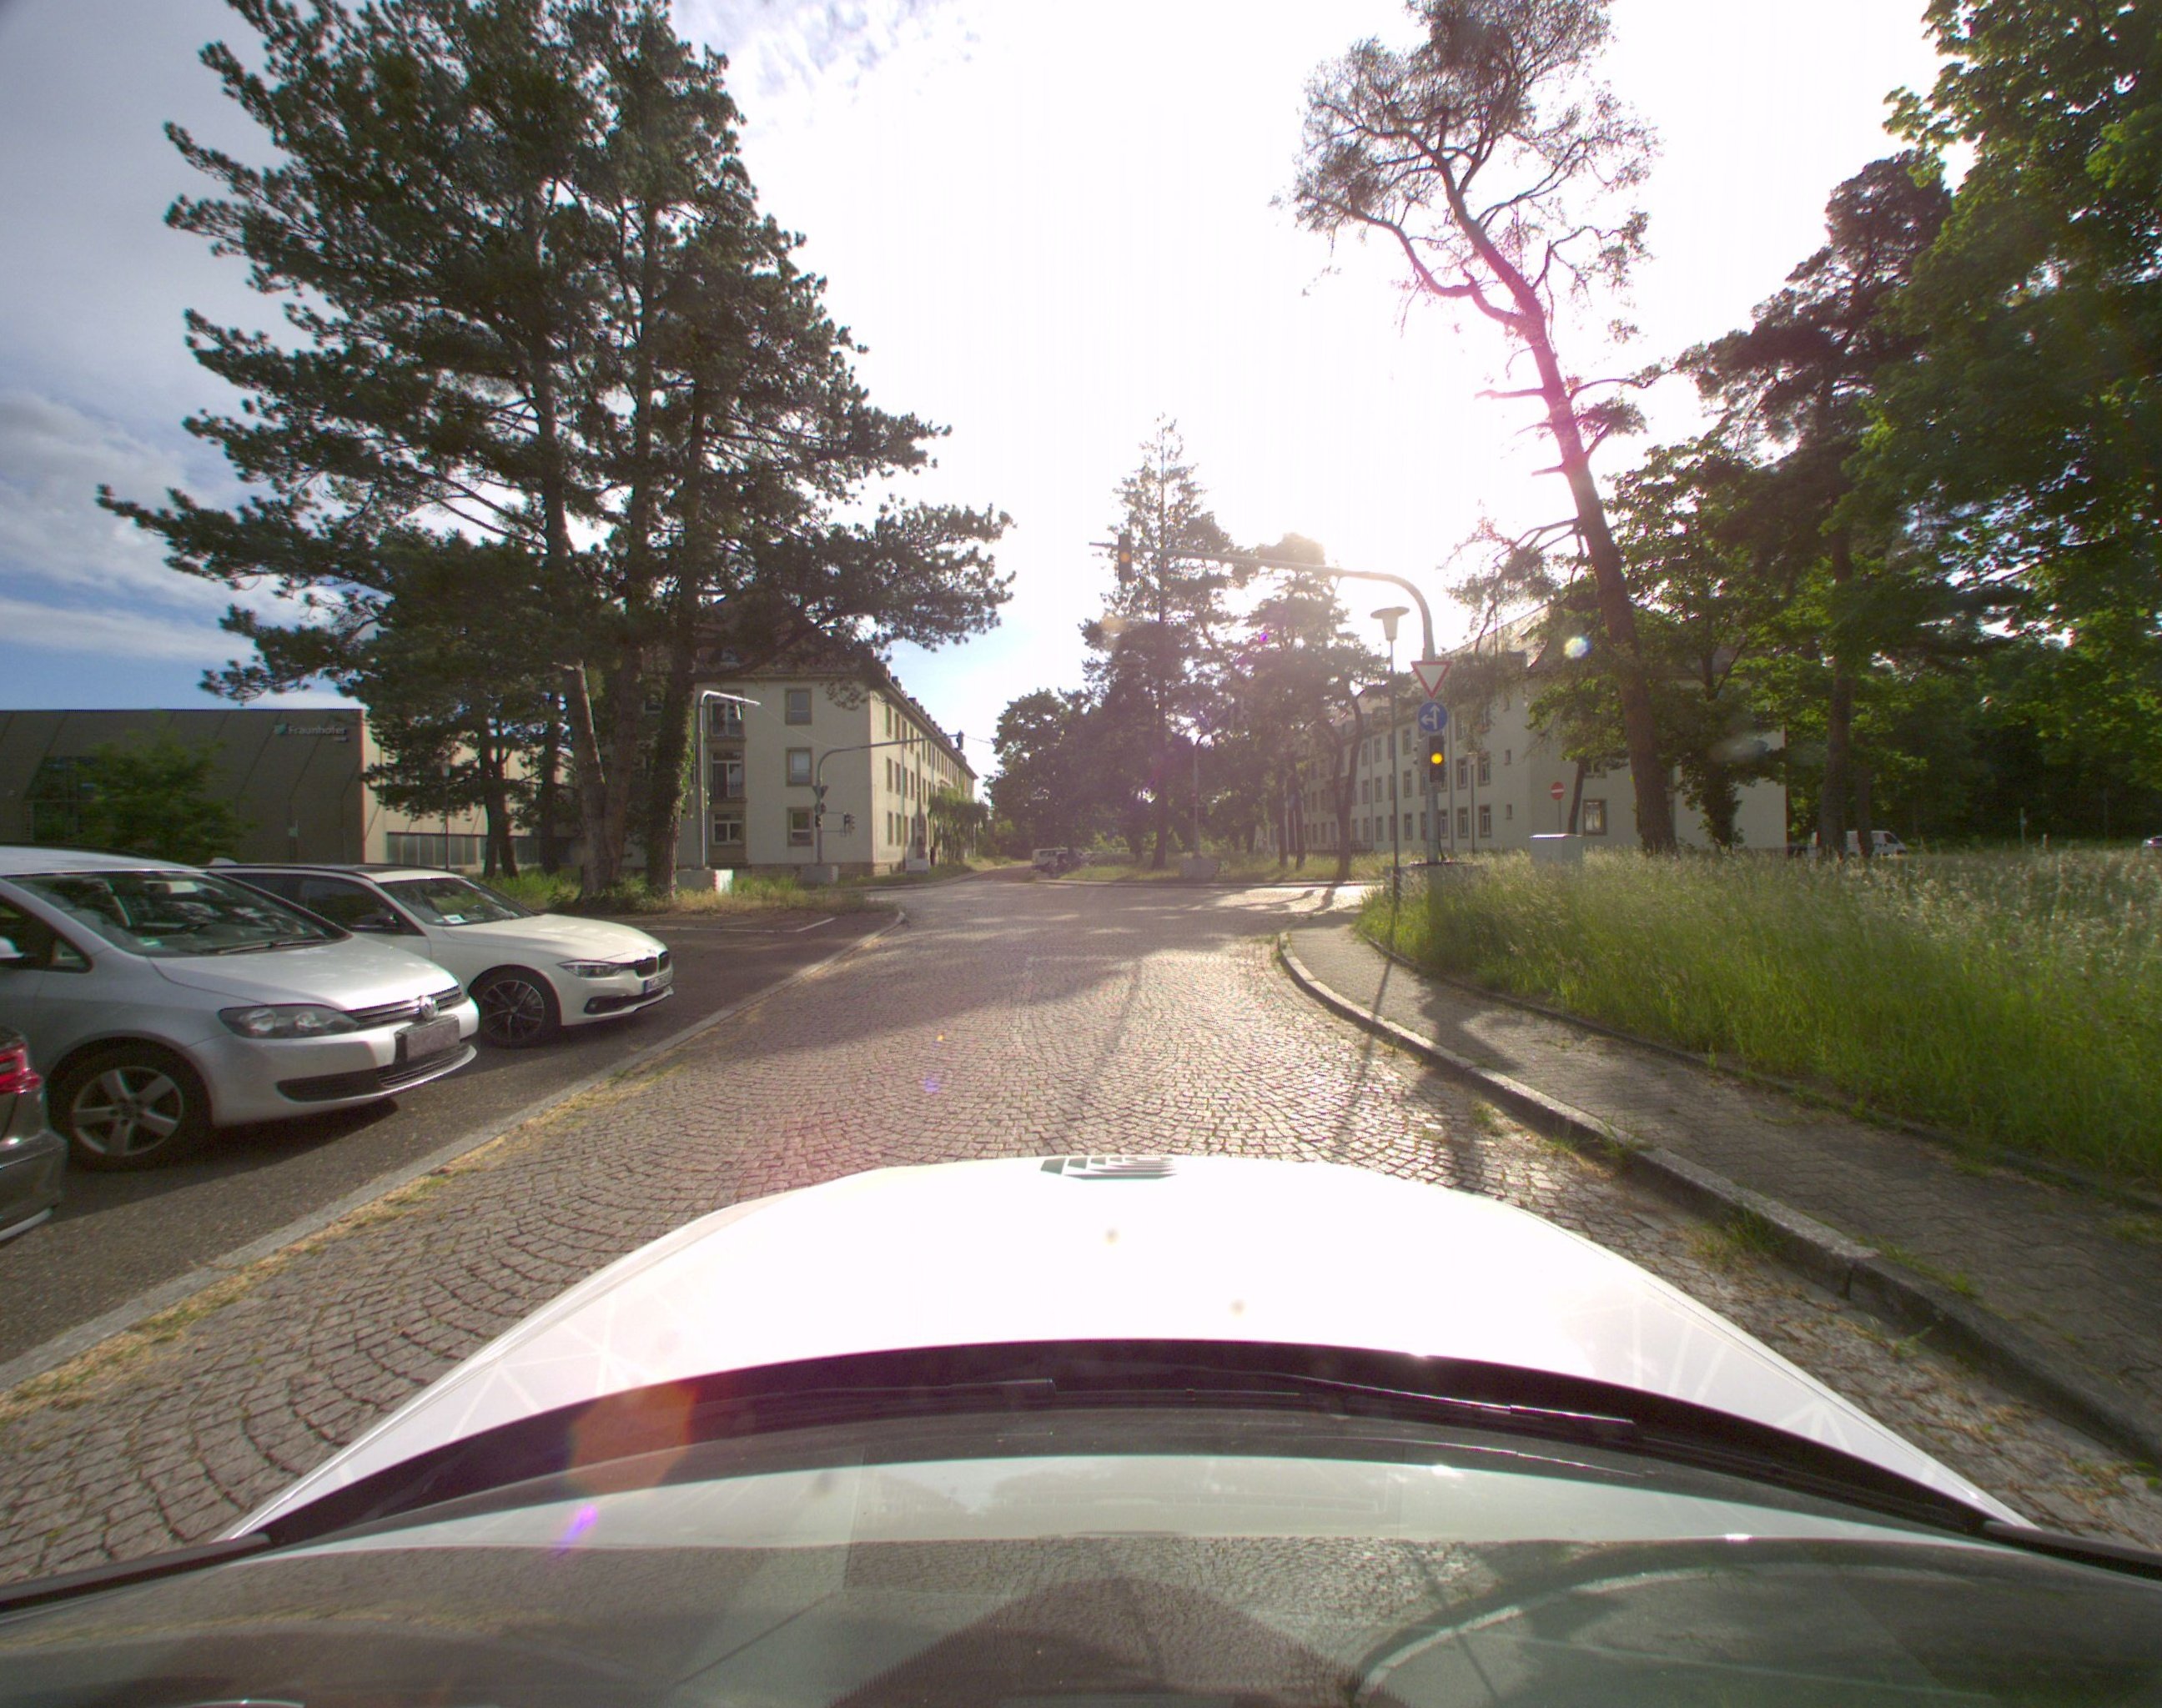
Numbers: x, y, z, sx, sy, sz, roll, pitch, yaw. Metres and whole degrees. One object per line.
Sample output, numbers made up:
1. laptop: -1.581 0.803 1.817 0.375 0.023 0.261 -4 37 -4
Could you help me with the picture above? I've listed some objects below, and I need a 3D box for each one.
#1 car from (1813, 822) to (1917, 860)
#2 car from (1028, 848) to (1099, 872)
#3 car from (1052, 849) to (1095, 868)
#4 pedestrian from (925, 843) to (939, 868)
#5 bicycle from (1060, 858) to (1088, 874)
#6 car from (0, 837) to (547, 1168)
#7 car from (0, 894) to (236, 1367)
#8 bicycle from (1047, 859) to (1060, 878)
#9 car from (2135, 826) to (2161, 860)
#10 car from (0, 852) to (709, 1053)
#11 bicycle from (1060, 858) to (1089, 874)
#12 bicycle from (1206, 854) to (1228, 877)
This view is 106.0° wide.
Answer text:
1. car: 54.680 -0.883 56.887 5.144 2.536 2.263 -1 -1 -2
2. car: -1.435 0.487 67.681 5.514 1.916 2.241 -1 -1 -17
3. car: -0.614 0.372 64.163 3.038 1.465 1.711 -1 -1 -16
4. pedestrian: -11.629 0.122 63.523 0.983 1.963 0.931 -1 -1 -3
5. bicycle: -0.472 0.766 52.812 1.789 0.999 0.643 -1 1 -4
6. car: -5.918 0.722 4.836 4.118 1.600 1.854 2 -1 -8
7. car: -5.253 0.831 2.178 3.821 1.429 1.856 2 -1 -4
8. bicycle: -1.633 0.846 48.134 0.726 0.999 1.797 -1 1 -3
9. car: 55.868 -0.573 40.836 3.925 1.679 1.853 -1 -1 -5
10. car: -6.118 0.800 7.368 4.580 1.455 1.900 2 1 -6
11. bicycle: -0.426 0.759 51.794 1.789 0.999 0.643 -1 1 -4
12. bicycle: 6.338 0.520 37.996 0.561 0.999 1.748 -2 1 -7
